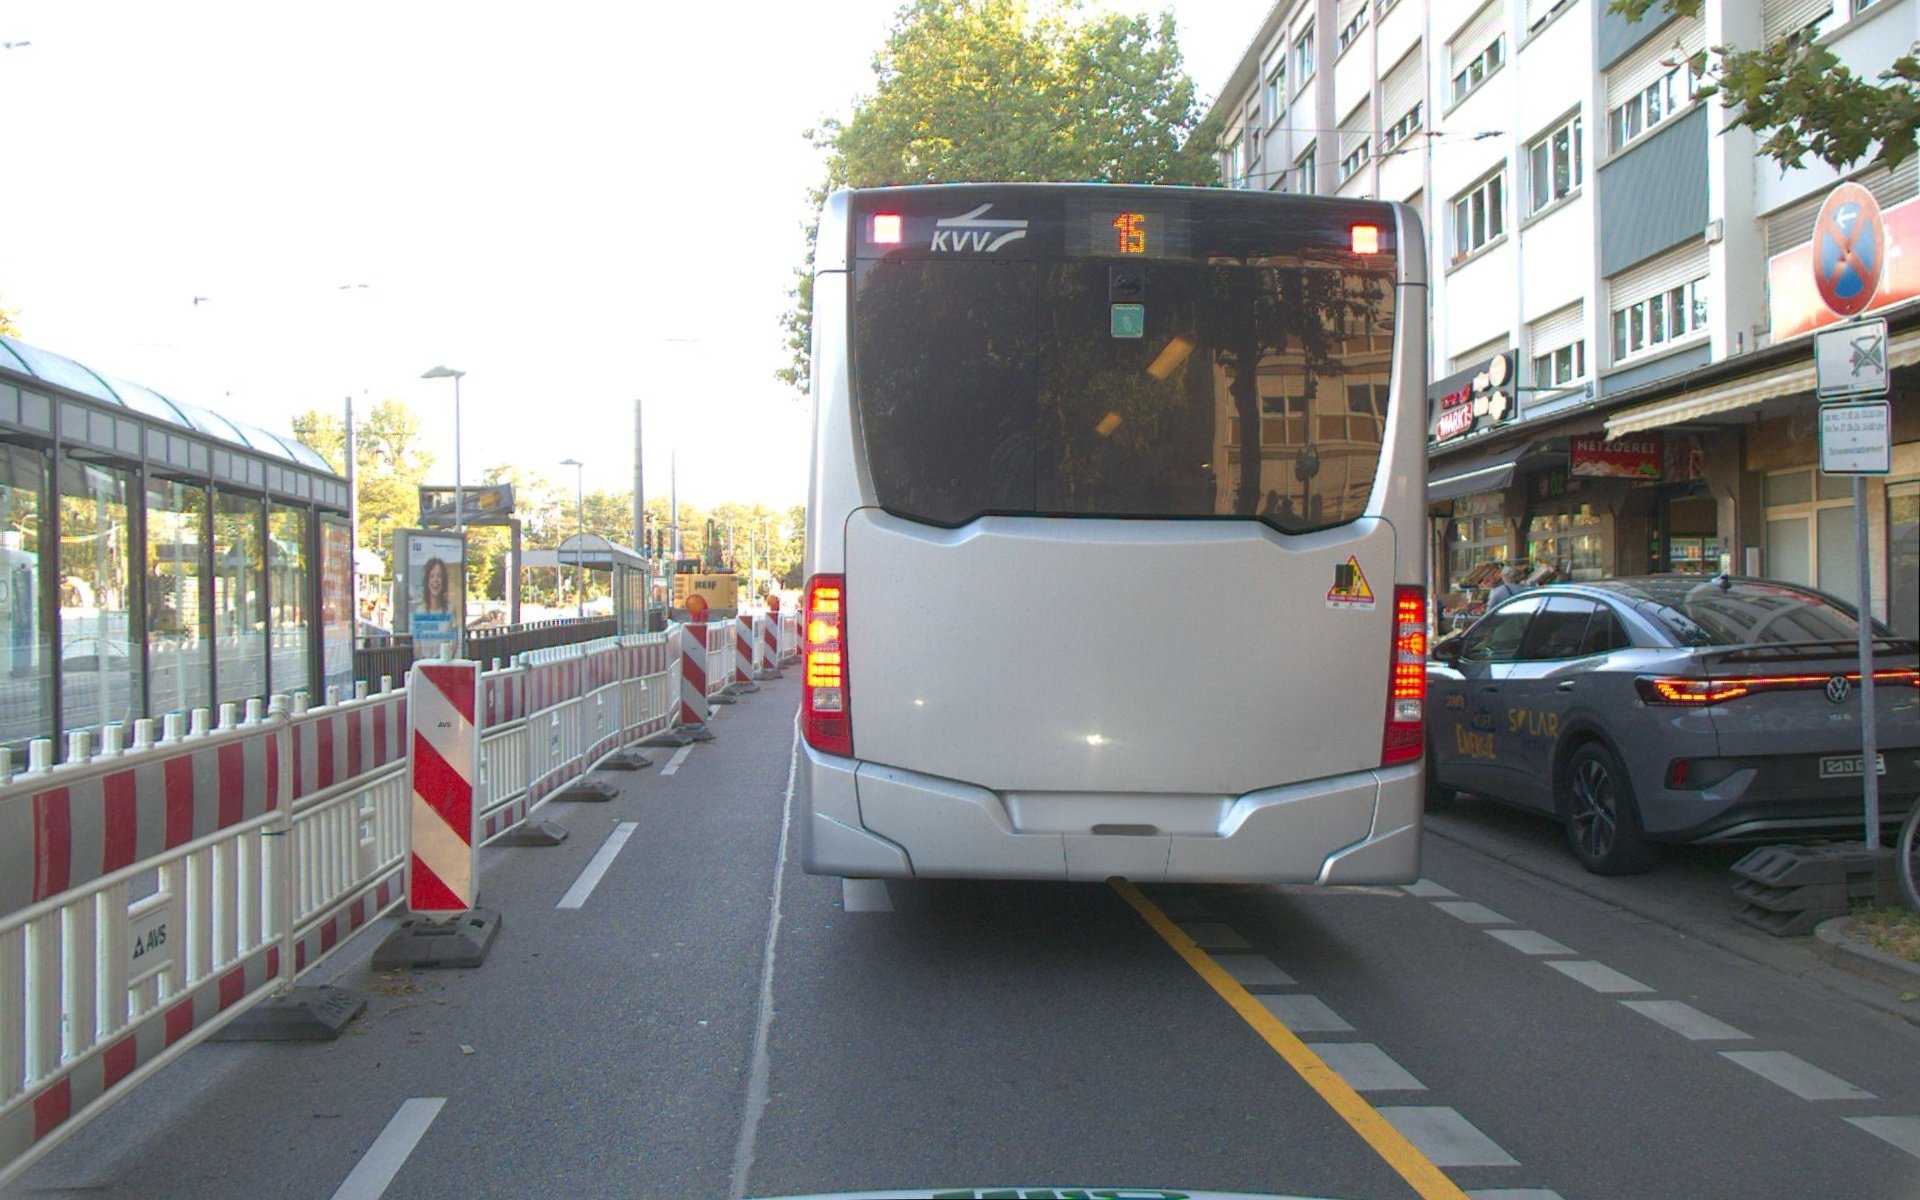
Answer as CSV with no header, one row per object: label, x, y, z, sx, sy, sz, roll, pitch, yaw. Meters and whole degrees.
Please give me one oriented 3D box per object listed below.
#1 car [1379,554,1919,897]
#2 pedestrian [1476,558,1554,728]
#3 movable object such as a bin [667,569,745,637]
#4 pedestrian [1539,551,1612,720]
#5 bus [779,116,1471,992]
car,4.226,0.608,10.355,1.706,1.625,4.294,-3,0,-5
pedestrian,6.829,0.522,20.374,0.677,2.049,0.696,-1,0,-4
movable object such as a bin,-9.707,0.097,63.518,2.752,2.505,3.995,0,0,-6
pedestrian,7.614,0.432,20.473,0.600,2.049,0.696,-1,0,-2
bus,0.573,-0.184,11.256,2.555,3.225,10.290,0,0,-1
